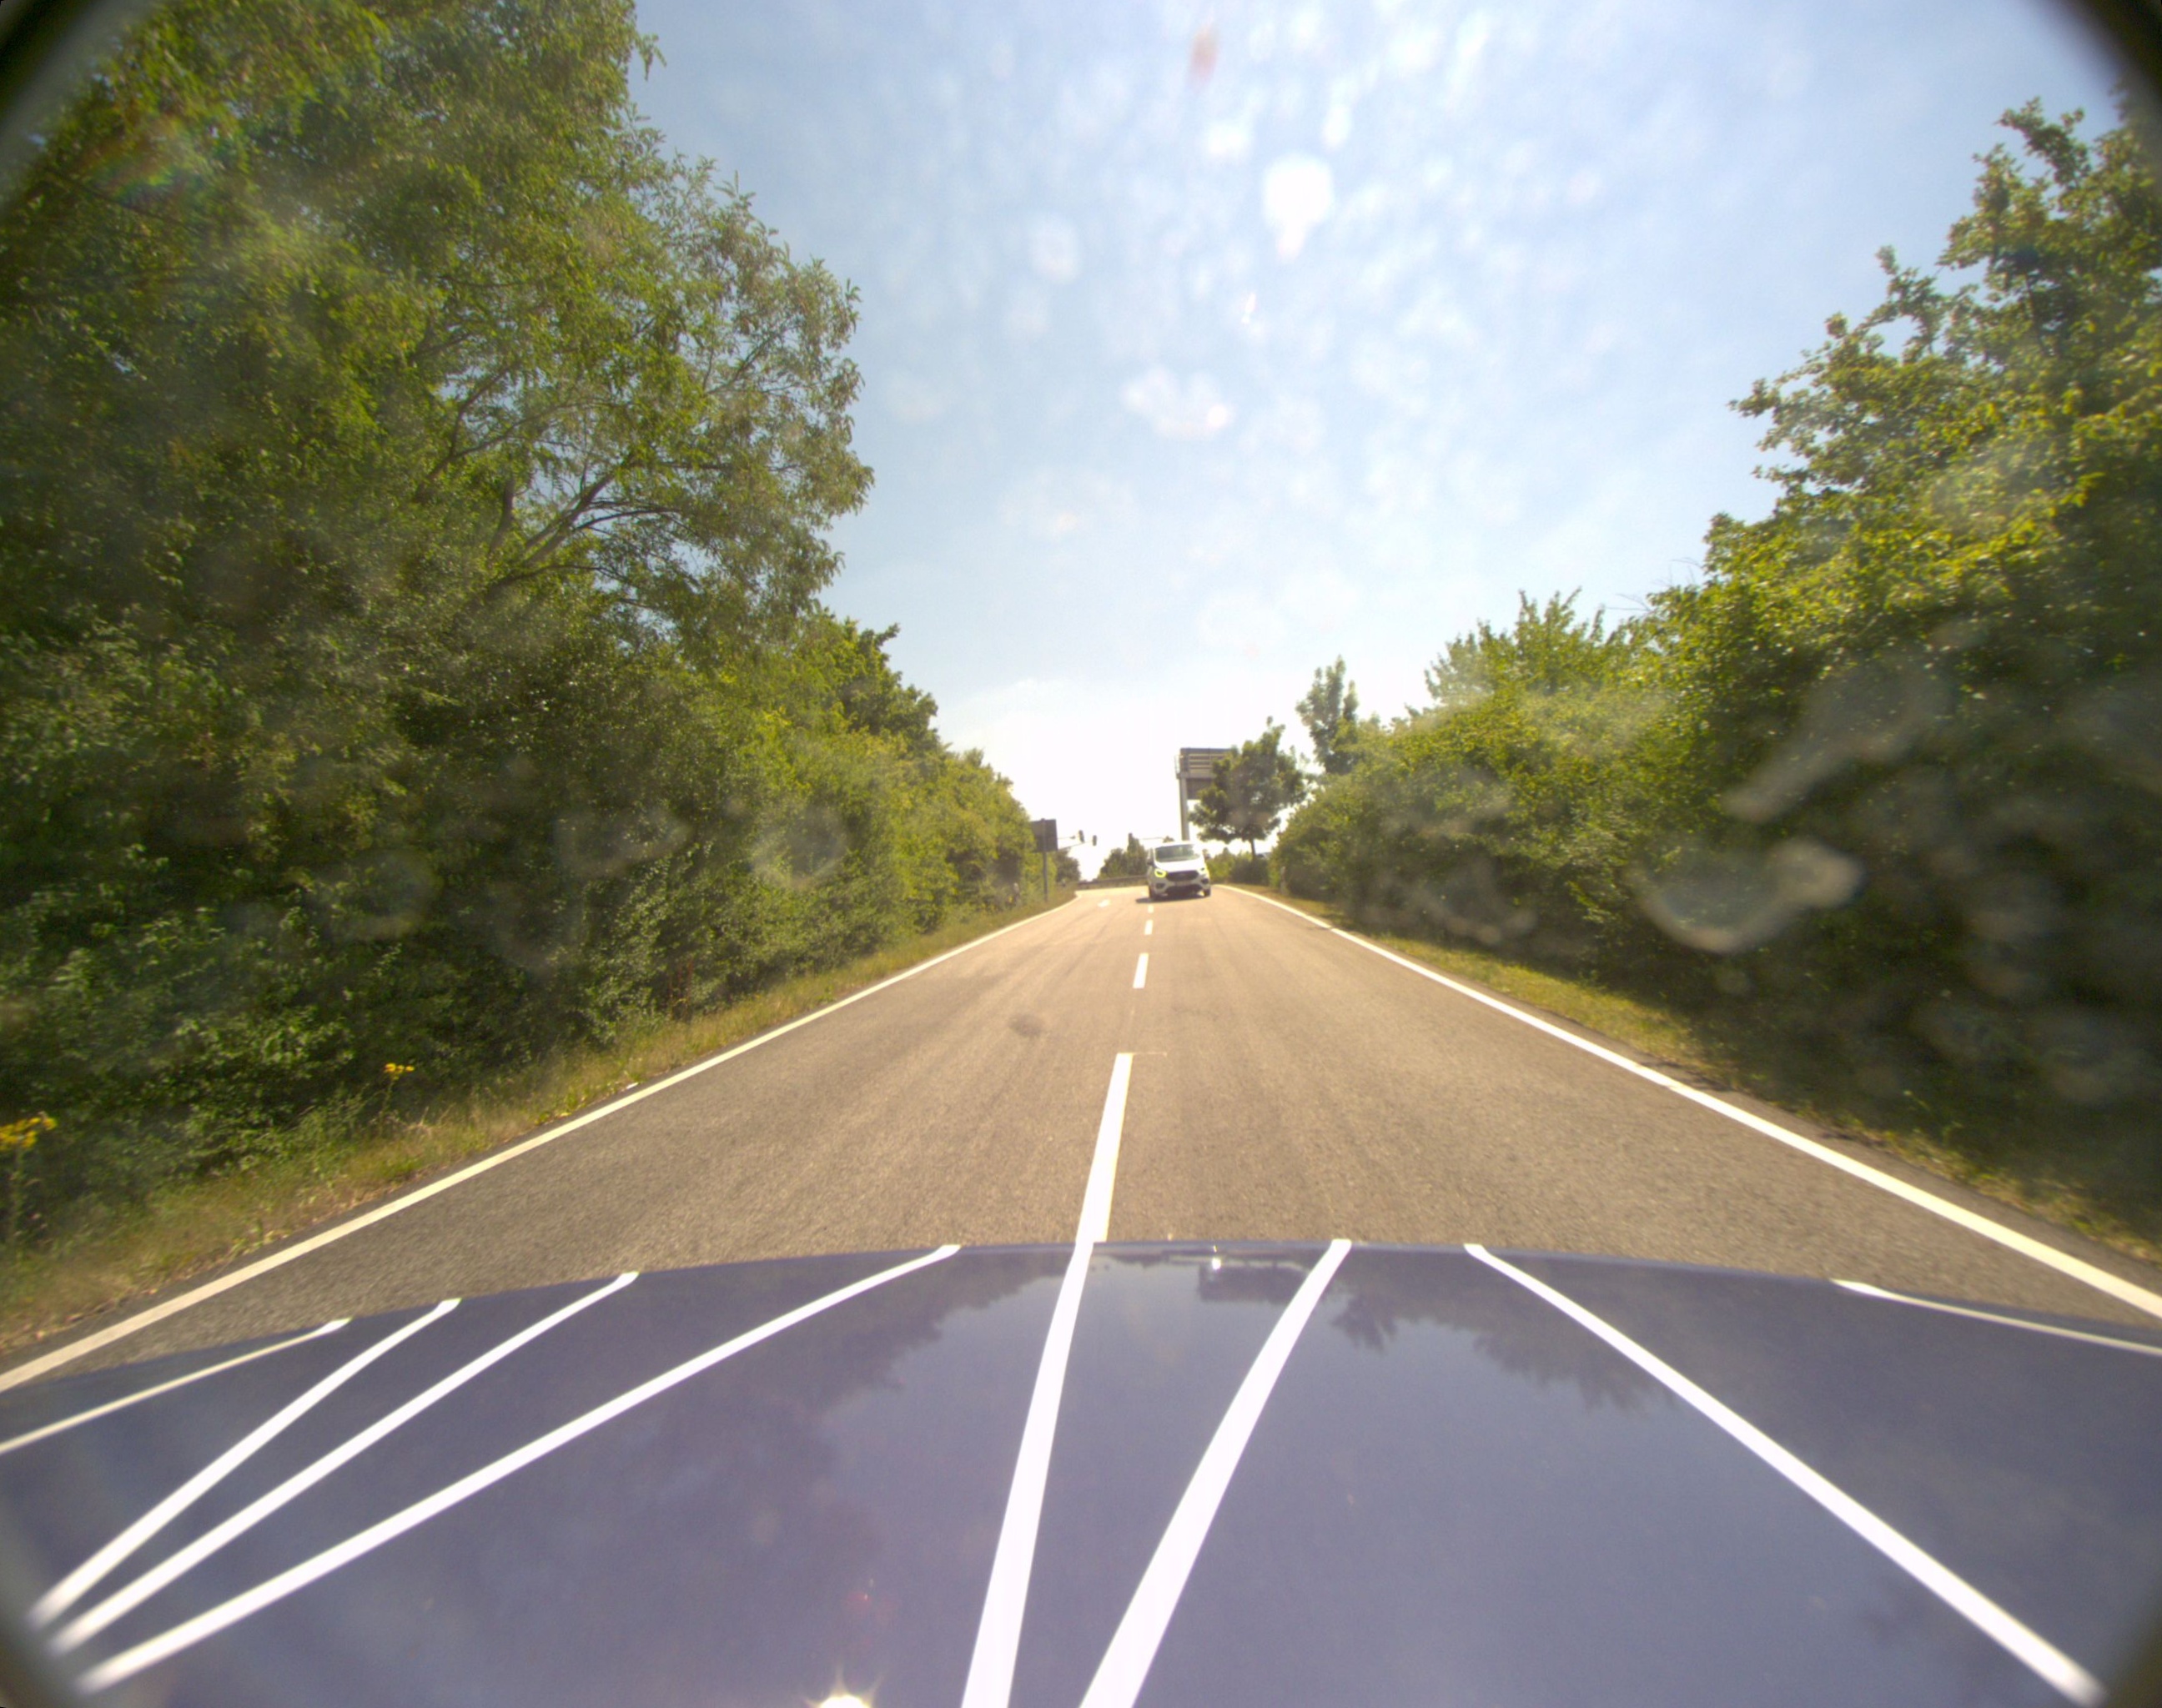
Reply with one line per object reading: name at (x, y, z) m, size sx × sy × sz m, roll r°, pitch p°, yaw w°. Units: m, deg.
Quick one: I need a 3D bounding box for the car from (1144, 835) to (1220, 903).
car at (3.515, 0.519, 27.505) m, size 2.030 × 2.072 × 5.873 m, roll -4°, pitch -1°, yaw 2°
